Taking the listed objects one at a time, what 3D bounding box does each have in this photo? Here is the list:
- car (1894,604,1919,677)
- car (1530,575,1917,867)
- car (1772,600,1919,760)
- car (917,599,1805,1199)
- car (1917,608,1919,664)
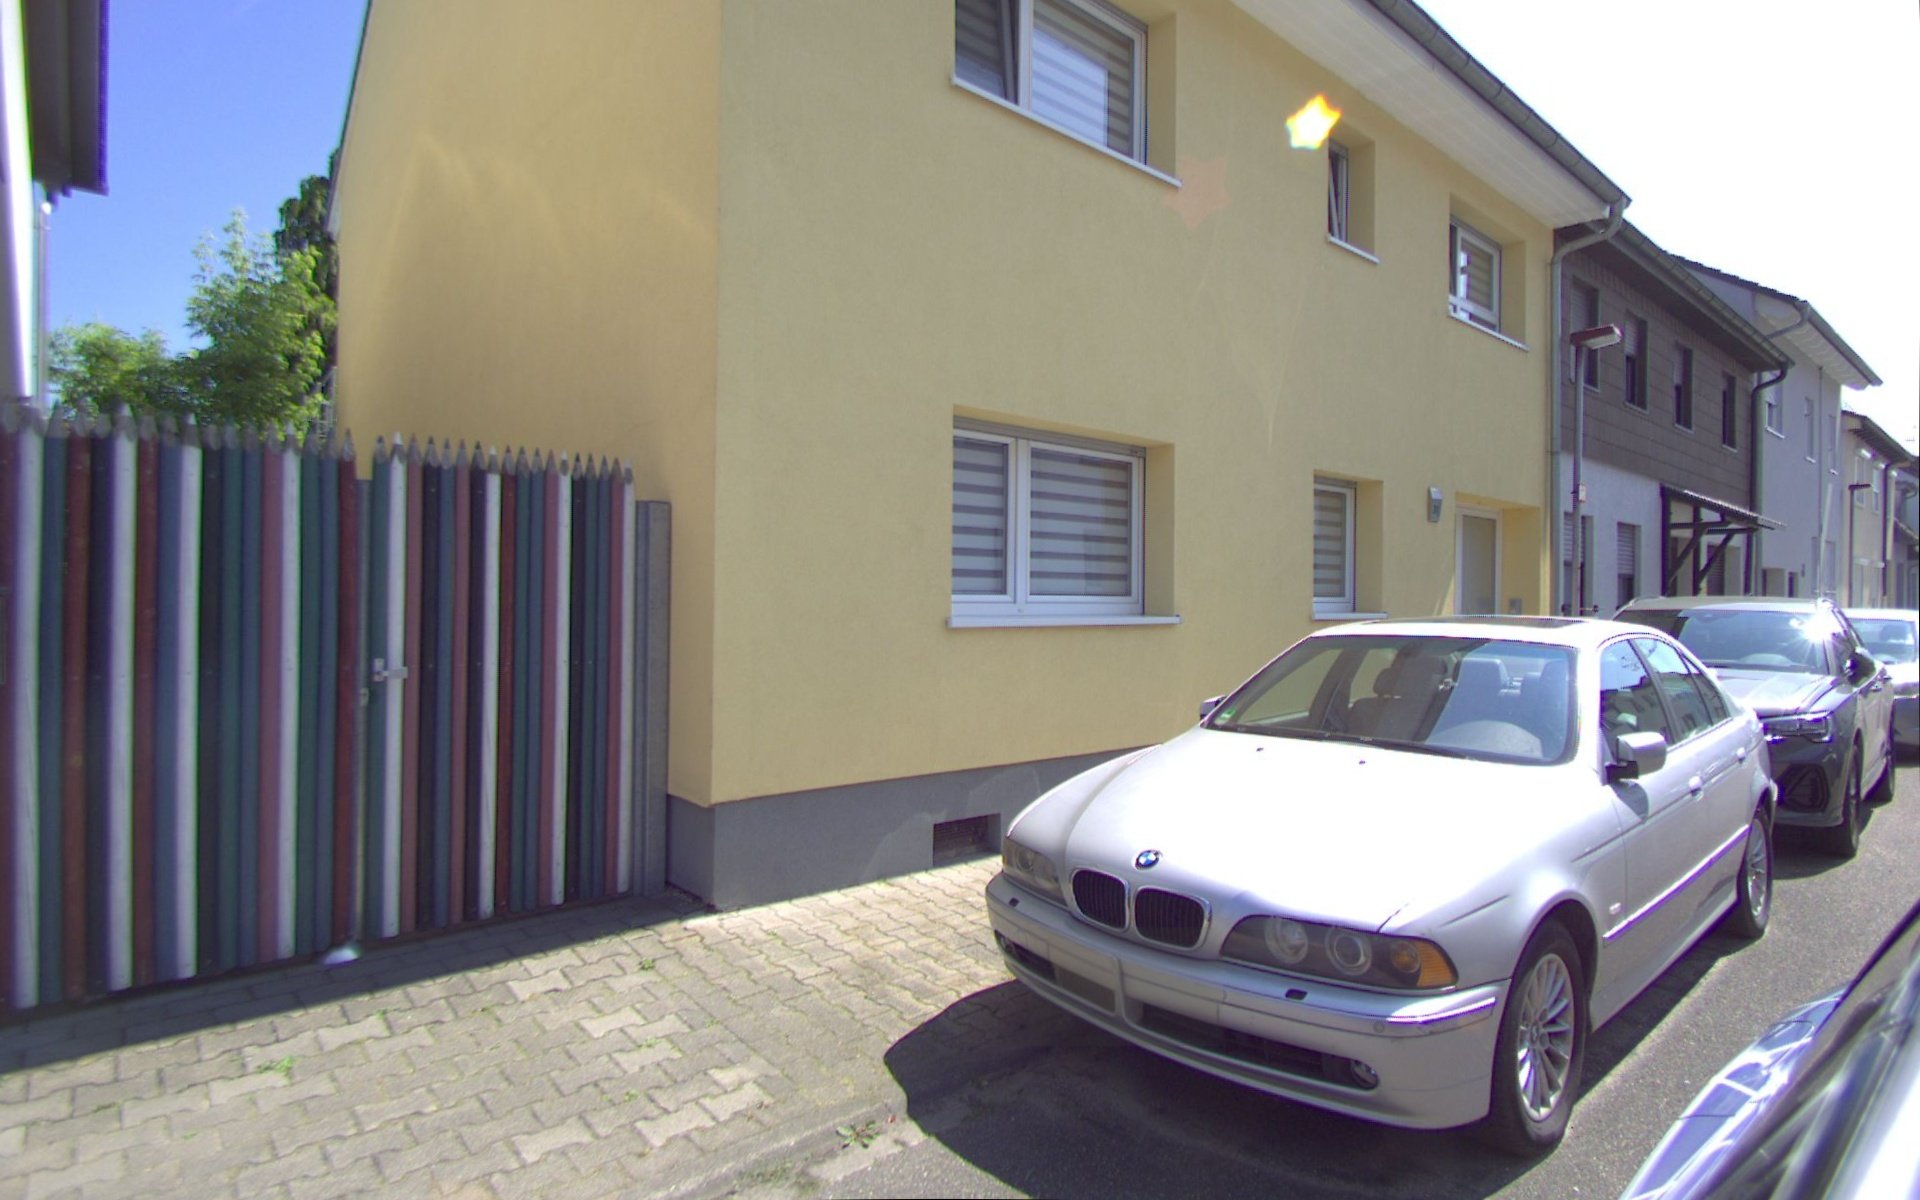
[{"bbox_3d":[21.666,0.835,21.936,3.976,1.487,1.740,0,-1,-43],"label":"car"},{"bbox_3d":[5.819,0.660,7.535,3.896,1.604,1.681,0,0,-43],"label":"car"},{"bbox_3d":[10.237,0.774,11.235,3.340,1.547,1.401,0,-1,-42],"label":"car"},{"bbox_3d":[1.968,0.737,4.140,4.174,1.432,1.665,0,1,-42],"label":"car"},{"bbox_3d":[25.749,0.884,25.697,3.975,1.377,1.759,0,-1,-42],"label":"car"}]
